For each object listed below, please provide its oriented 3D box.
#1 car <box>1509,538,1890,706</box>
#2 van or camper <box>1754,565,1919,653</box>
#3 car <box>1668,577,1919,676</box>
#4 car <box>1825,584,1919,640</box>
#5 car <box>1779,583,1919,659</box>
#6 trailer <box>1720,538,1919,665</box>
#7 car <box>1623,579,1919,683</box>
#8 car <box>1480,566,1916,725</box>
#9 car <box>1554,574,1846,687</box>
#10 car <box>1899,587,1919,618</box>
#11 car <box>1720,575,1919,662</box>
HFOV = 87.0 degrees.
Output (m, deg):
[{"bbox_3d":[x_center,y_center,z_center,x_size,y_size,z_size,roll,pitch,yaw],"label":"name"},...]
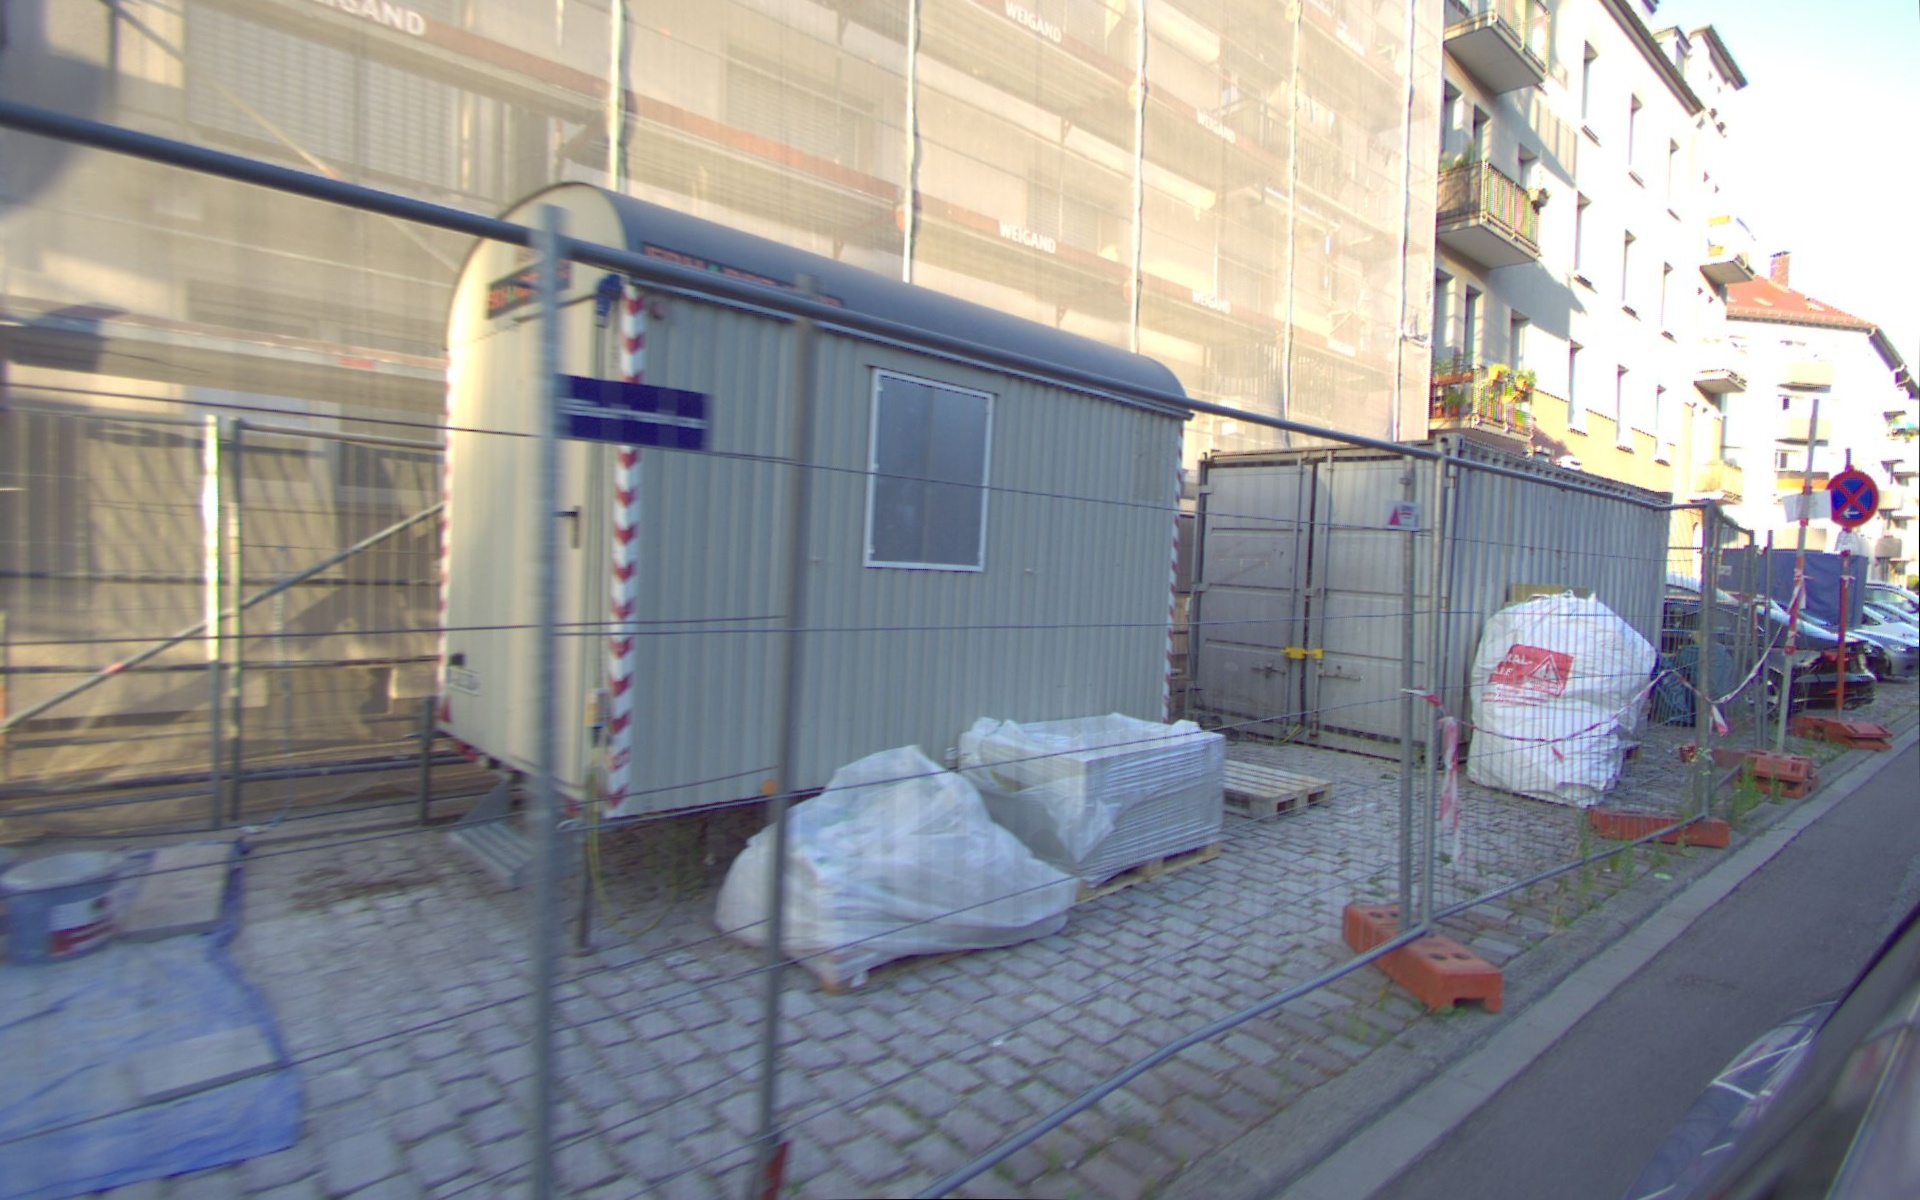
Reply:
[{"bbox_3d":[10.868,0.203,15.111,1.792,2.004,4.271,1,4,-45],"label":"car"},{"bbox_3d":[23.779,0.210,26.147,2.005,2.122,4.842,0,2,-42],"label":"van or camper"},{"bbox_3d":[16.386,0.439,19.678,1.872,1.658,3.991,0,2,-44],"label":"car"},{"bbox_3d":[28.962,0.381,30.596,1.824,1.605,4.106,0,2,-44],"label":"car"},{"bbox_3d":[22.114,0.477,23.963,1.966,1.660,3.992,-1,3,-43],"label":"car"},{"bbox_3d":[18.403,-0.029,21.229,1.909,2.365,3.572,0,4,-44],"label":"trailer"},{"bbox_3d":[14.564,0.459,18.326,1.759,1.591,3.968,0,2,-44],"label":"car"},{"bbox_3d":[9.220,0.429,12.951,1.838,1.635,4.163,0,2,-39],"label":"car"},{"bbox_3d":[12.359,0.419,17.049,1.716,1.630,3.697,0,2,-43],"label":"car"},{"bbox_3d":[49.431,0.185,49.932,1.889,1.560,4.310,0,2,-40],"label":"car"},{"bbox_3d":[19.755,0.349,22.732,1.966,1.749,3.993,-2,3,-42],"label":"car"}]
